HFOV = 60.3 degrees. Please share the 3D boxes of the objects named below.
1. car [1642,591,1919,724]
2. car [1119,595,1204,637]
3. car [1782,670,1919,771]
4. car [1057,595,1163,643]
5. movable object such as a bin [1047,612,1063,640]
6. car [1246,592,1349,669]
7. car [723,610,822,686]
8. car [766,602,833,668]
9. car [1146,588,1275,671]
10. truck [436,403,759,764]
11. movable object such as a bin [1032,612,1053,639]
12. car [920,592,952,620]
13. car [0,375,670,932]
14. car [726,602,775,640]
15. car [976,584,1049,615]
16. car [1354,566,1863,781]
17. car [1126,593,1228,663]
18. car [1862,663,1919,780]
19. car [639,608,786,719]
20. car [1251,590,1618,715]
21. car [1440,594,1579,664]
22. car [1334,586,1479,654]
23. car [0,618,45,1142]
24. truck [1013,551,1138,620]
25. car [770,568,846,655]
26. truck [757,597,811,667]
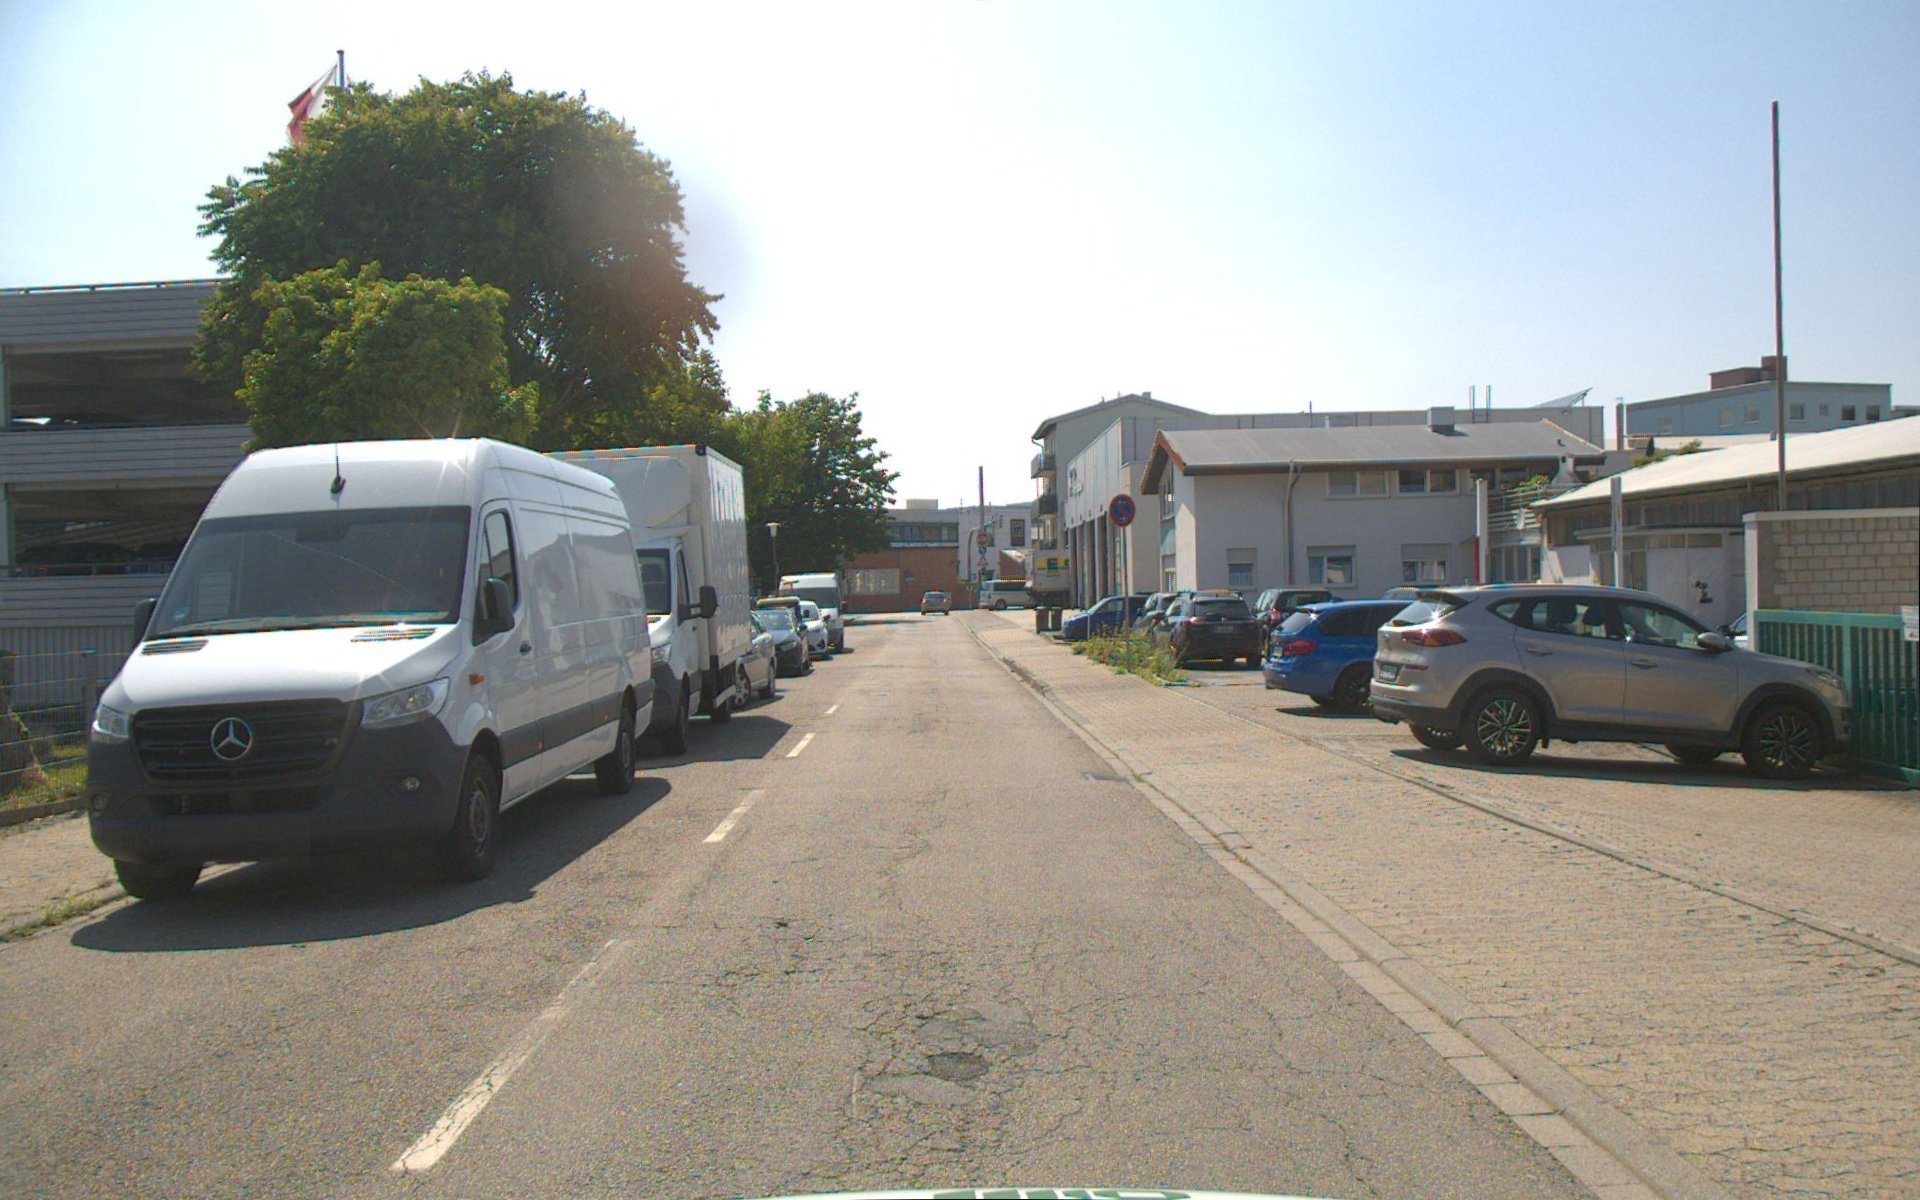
[{"bbox_3d":[10.617,0.661,20.931,1.849,1.467,4.451,-1,-1,-4],"label":"car"},{"bbox_3d":[8.350,0.647,68.282,1.746,1.566,3.683,-2,0,40],"label":"car"},{"bbox_3d":[10.196,1.254,17.005,2.838,0.930,1.287,2,0,-1],"label":"car"},{"bbox_3d":[4.725,0.594,52.449,3.187,1.423,1.673,-1,0,-1],"label":"car"},{"bbox_3d":[3.466,0.947,60.425,0.502,0.962,0.488,-2,0,10],"label":"movable object such as a bin"},{"bbox_3d":[7.707,0.660,38.053,1.723,1.623,3.620,2,0,2],"label":"car"},{"bbox_3d":[-4.006,0.992,35.923,1.670,1.488,4.113,-3,0,-1],"label":"car"},{"bbox_3d":[-4.406,0.927,45.306,1.672,1.652,3.968,-2,0,-6],"label":"car"},{"bbox_3d":[5.211,0.581,35.021,1.821,1.595,4.949,-1,0,-2],"label":"car"},{"bbox_3d":[-3.937,-0.107,19.588,2.632,3.425,7.123,-2,-1,-4],"label":"truck"},{"bbox_3d":[2.990,0.929,60.002,0.557,0.962,0.556,-2,0,32],"label":"movable object such as a bin"},{"bbox_3d":[-1.597,0.402,109.160,1.853,1.714,3.953,-1,-1,-5],"label":"car"},{"bbox_3d":[-3.694,0.316,11.603,2.124,2.641,6.918,-2,-1,-1],"label":"car"},{"bbox_3d":[-9.164,0.913,72.638,1.778,1.557,3.673,-2,0,-3],"label":"car"},{"bbox_3d":[3.564,-0.052,111.925,4.586,1.992,1.905,-1,0,-20],"label":"car"},{"bbox_3d":[6.074,0.681,15.793,4.117,1.711,1.766,3,-1,-2],"label":"car"},{"bbox_3d":[5.266,0.656,40.578,1.775,1.585,4.291,-1,0,-2],"label":"car"},{"bbox_3d":[10.063,1.158,15.207,2.838,1.021,1.287,2,0,-1],"label":"car"},{"bbox_3d":[-3.773,0.924,25.864,1.706,1.548,4.308,-1,0,-1],"label":"car"},{"bbox_3d":[6.178,0.669,21.854,4.265,1.467,1.891,-1,-1,-2],"label":"car"},{"bbox_3d":[11.439,0.571,34.687,1.608,1.347,4.101,-1,0,1],"label":"car"},{"bbox_3d":[10.995,0.499,41.016,1.729,1.522,4.137,-3,0,-12],"label":"car"},{"bbox_3d":[-3.632,0.842,2.982,1.680,1.571,4.397,-3,-1,-3],"label":"car"},{"bbox_3d":[7.219,-0.905,103.726,7.221,3.708,2.763,-4,0,-7],"label":"truck"},{"bbox_3d":[-4.577,0.413,50.487,1.965,2.408,5.225,-3,-2,-3],"label":"car"},{"bbox_3d":[-4.418,0.778,41.697,1.116,1.650,3.139,-3,0,-3],"label":"truck"}]
